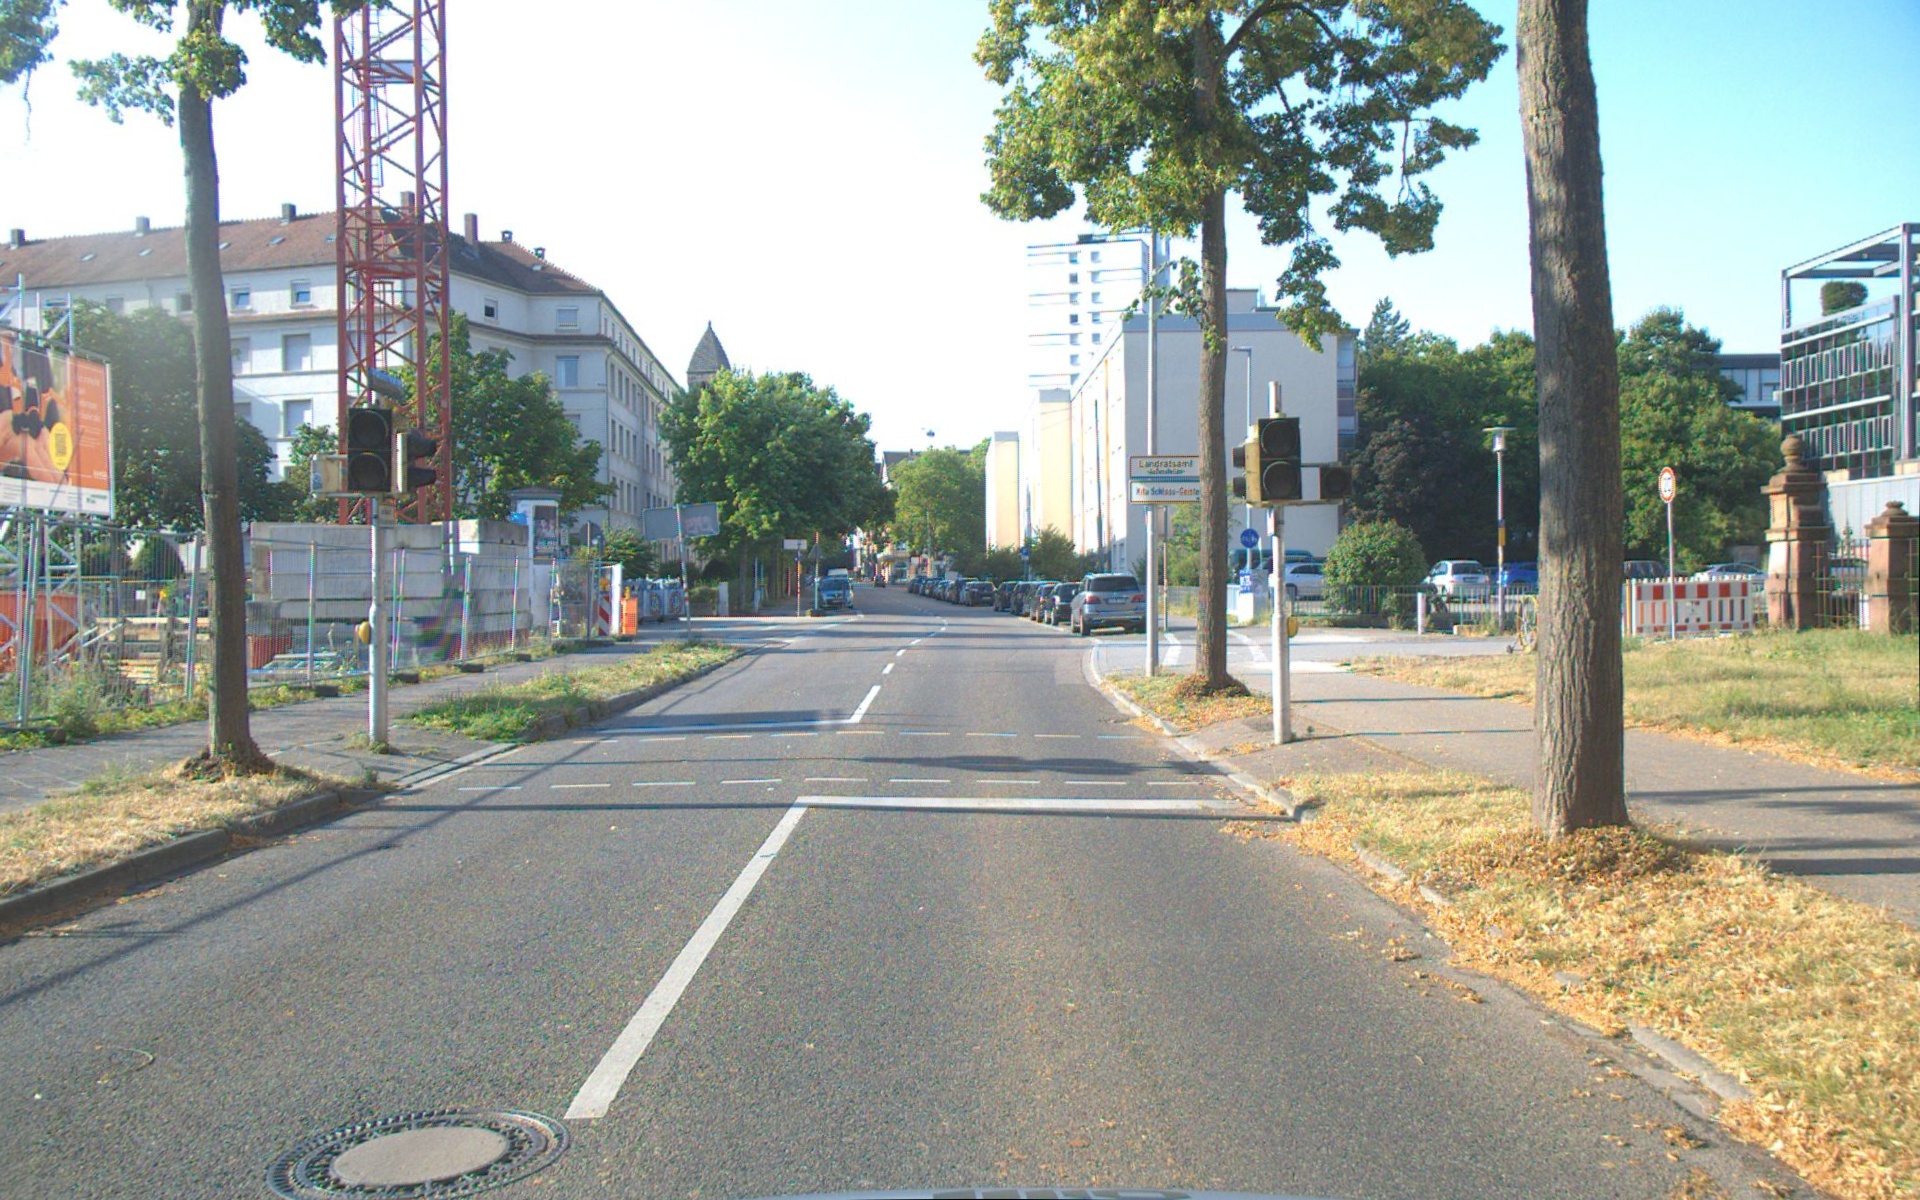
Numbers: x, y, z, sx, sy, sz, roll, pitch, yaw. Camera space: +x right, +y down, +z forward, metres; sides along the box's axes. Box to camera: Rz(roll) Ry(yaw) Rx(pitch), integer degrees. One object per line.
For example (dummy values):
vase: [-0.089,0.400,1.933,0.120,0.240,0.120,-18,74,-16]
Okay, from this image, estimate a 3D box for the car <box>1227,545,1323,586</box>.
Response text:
car: [13.955,-1.536,73.369,3.905,1.758,1.773,0,0,0]

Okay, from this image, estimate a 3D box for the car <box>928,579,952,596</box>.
car: [-1.755,-1.110,144.299,1.805,1.410,3.997,-2,1,-4]

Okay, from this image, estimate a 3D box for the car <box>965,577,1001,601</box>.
car: [1.375,-0.688,100.677,1.805,1.410,3.997,-2,1,-4]

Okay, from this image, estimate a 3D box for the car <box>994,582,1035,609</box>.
car: [2.686,-0.228,82.281,1.804,1.283,3.999,-2,1,-1]

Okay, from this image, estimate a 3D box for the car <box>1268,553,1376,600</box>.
car: [14.086,-0.904,64.489,3.903,1.713,2.001,1,-1,5]

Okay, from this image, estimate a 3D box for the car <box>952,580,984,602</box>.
car: [0.513,-0.611,111.393,1.805,1.410,3.997,-2,1,-4]

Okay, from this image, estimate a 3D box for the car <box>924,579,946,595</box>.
car: [-2.280,-1.190,150.727,1.805,1.410,3.997,-2,1,-4]

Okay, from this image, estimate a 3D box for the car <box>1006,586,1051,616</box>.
car: [3.118,0.025,75.959,1.804,1.283,3.999,-2,1,-1]

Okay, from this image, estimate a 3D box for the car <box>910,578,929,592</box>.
car: [-4.247,-1.563,173.739,1.805,1.410,3.997,-2,1,-4]

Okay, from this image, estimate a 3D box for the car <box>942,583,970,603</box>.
car: [-0.336,-0.529,123.745,1.805,1.410,3.997,-2,1,-4]

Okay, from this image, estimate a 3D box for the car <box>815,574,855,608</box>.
car: [-6.675,-0.447,87.949,1.955,1.717,3.995,-1,0,-6]

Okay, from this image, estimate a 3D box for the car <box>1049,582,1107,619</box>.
car: [4.225,0.003,59.754,1.743,1.248,3.999,-2,1,-1]

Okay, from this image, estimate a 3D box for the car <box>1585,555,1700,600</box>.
car: [27.611,-0.890,66.971,3.905,1.758,1.773,1,0,0]

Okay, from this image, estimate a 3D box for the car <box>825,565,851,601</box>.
car: [-11.285,-1.577,152.885,2.143,3.185,4.981,-3,0,-4]

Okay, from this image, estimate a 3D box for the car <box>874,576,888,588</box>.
car: [-10.800,-2.417,226.141,1.680,1.512,3.997,-2,0,-4]

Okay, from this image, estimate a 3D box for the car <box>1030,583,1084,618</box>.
car: [3.778,-0.017,65.006,1.804,1.283,3.999,-2,1,-1]

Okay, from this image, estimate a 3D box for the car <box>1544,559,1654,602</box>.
car: [26.761,-0.819,69.338,3.905,1.758,1.773,1,0,0]

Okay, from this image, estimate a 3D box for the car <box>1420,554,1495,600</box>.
car: [18.248,-0.821,60.785,1.774,1.586,3.626,1,0,2]

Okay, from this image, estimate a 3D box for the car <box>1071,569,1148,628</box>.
car: [4.361,-0.067,48.670,1.804,1.601,3.999,-2,1,-1]

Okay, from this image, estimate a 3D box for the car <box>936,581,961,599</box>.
car: [-0.939,-0.842,134.024,1.805,1.410,3.997,-2,1,-4]

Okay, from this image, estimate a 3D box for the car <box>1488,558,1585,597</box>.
car: [26.844,-1.061,77.050,3.905,1.758,1.773,1,0,0]

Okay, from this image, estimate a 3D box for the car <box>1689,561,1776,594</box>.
car: [38.056,-1.117,81.532,3.463,1.572,1.773,0,0,0]
